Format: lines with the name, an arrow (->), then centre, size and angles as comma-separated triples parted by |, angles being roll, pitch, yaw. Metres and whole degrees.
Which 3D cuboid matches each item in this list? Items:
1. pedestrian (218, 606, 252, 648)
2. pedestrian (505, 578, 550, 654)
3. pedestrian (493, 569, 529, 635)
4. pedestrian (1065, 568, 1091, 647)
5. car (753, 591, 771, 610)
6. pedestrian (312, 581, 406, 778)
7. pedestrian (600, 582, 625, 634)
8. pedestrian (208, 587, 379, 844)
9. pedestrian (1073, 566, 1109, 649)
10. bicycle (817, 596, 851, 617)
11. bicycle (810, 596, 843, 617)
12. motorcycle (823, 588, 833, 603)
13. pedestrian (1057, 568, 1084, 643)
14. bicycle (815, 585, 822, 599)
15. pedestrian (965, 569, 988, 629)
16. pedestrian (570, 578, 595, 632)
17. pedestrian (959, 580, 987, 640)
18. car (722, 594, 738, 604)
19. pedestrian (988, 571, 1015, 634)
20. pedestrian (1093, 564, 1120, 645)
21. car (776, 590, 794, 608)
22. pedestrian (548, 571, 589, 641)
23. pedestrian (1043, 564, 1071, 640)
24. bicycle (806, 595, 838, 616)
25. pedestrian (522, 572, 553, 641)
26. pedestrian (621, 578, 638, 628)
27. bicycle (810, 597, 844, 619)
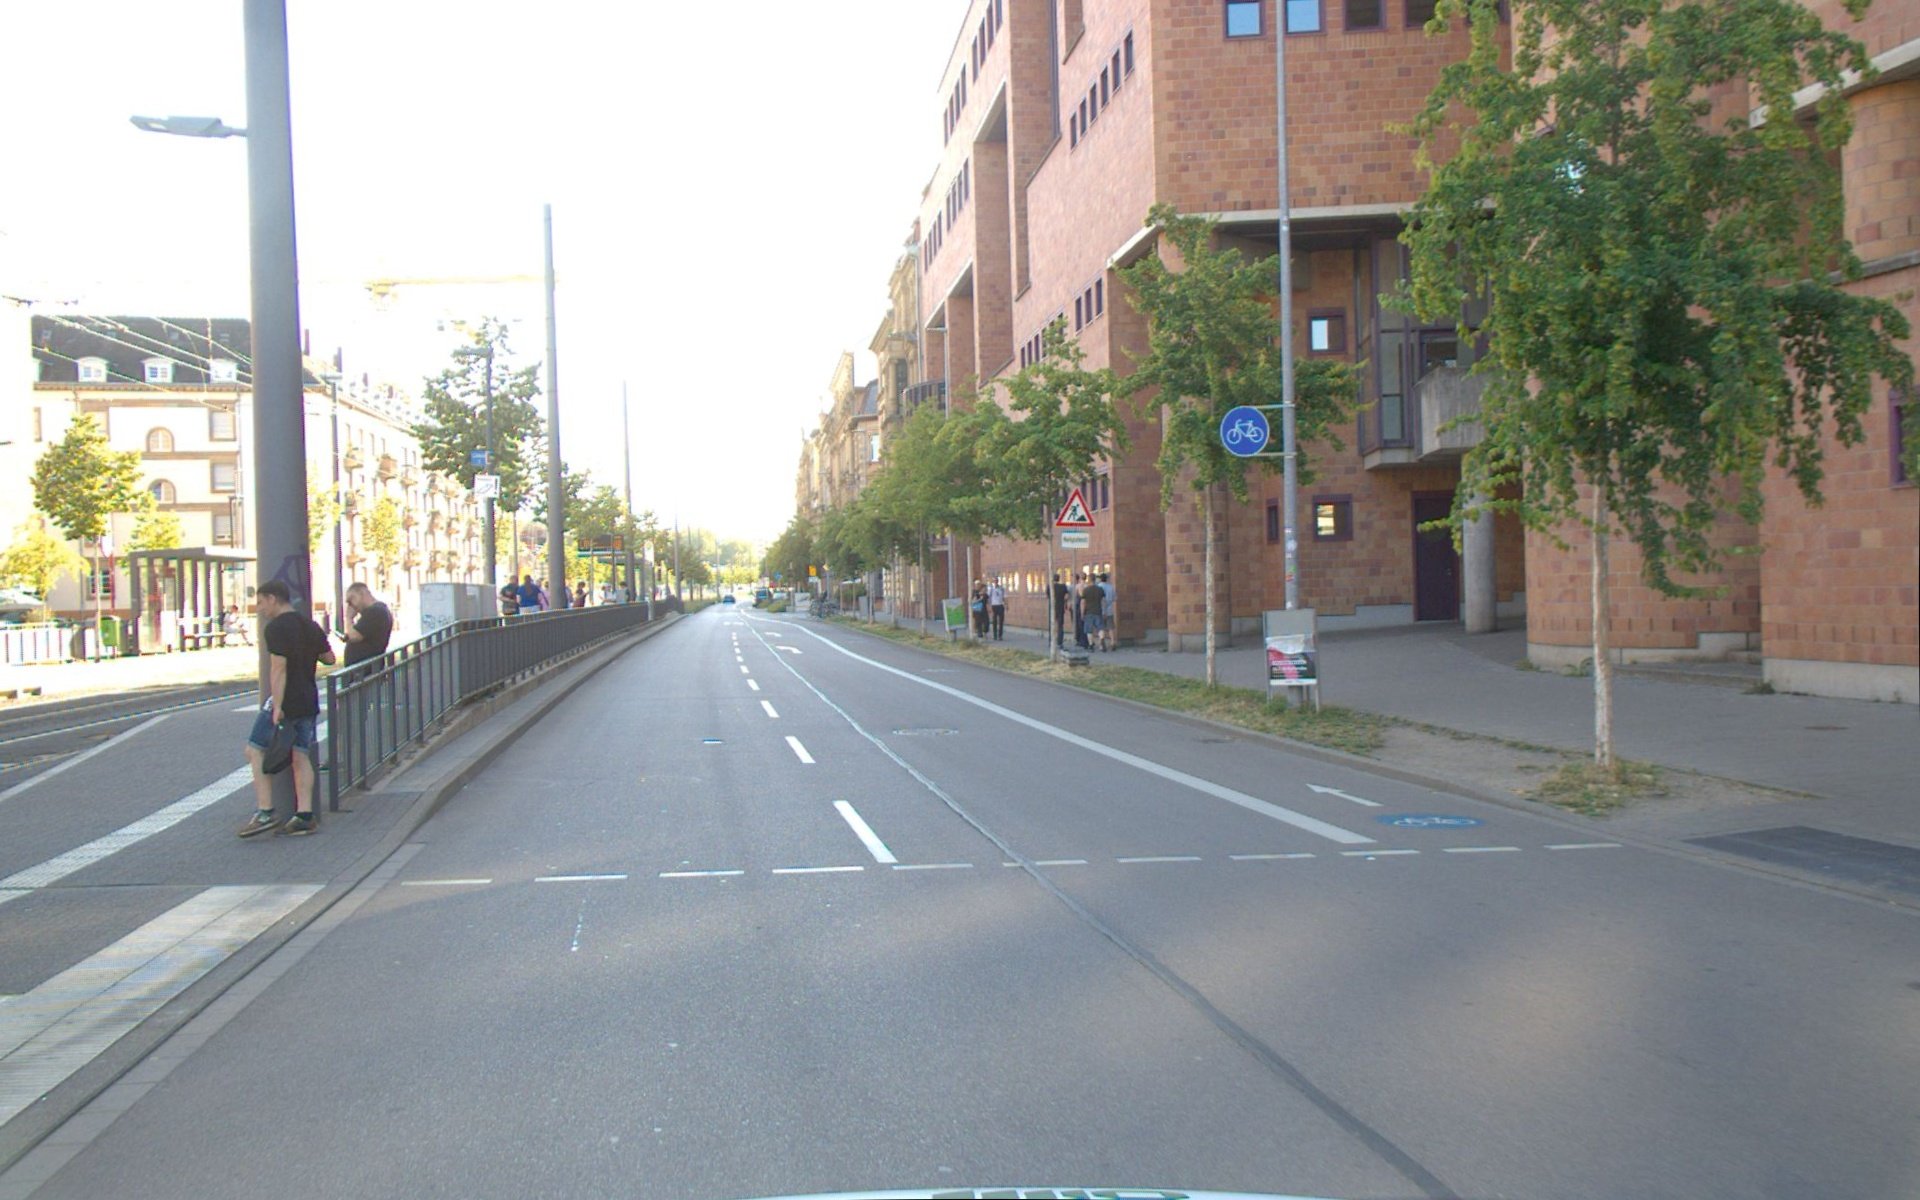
pedestrian -> -21.748, 0.802, 49.638 | 0.660, 1.210, 0.904 | -2, 0, -8
pedestrian -> -9.927, 0.355, 37.988 | 0.871, 1.701, 0.670 | -2, 0, -10
pedestrian -> -10.513, 0.047, 38.770 | 0.669, 1.509, 0.827 | -1, 0, -8
pedestrian -> 2.735, 0.172, 38.437 | 0.525, 1.787, 0.696 | -2, 0, 2
car -> -21.521, 0.076, 179.903 | 1.849, 1.971, 4.467 | 0, 1, -6
pedestrian -> -4.911, 0.634, 13.538 | 0.479, 1.565, 0.552 | -2, 0, 6
pedestrian -> -10.925, 0.246, 52.075 | 0.660, 1.589, 0.904 | -2, 0, -8
pedestrian -> -4.288, 0.713, 10.697 | 0.698, 1.565, 0.852 | -2, 0, 0
pedestrian -> 2.908, 0.162, 36.614 | 0.717, 1.787, 0.696 | -2, 0, 6
bicycle -> -7.311, 0.382, 95.763 | 1.795, 1.083, 0.661 | -5, 2, -13
bicycle -> -7.816, 0.365, 97.086 | 1.795, 1.083, 0.661 | -5, 2, -13
motorcycle -> -12.704, -0.467, 159.198 | 0.780, 1.331, 2.847 | -4, 2, -8
pedestrian -> 2.693, 0.134, 40.180 | 0.526, 1.787, 0.421 | -2, 0, -8
bicycle -> -16.005, -0.914, 187.207 | 0.648, 1.427, 2.348 | -2, 1, -8
pedestrian -> 0.493, -0.025, 49.723 | 0.529, 1.787, 0.419 | -2, 0, -22
pedestrian -> -12.589, 0.150, 55.222 | 0.706, 1.762, 0.650 | -2, 0, -9
pedestrian -> 0.358, 0.282, 46.075 | 0.509, 1.633, 0.700 | -2, 0, -21
car -> -33.732, -0.152, 242.998 | 1.761, 1.489, 3.999 | -2, 0, -1
pedestrian -> 1.178, 0.069, 46.628 | 0.561, 1.743, 0.639 | -2, 0, -13
pedestrian -> 3.295, 0.097, 37.316 | 0.525, 1.787, 0.696 | -2, 0, 2
car -> -17.309, -0.120, 163.853 | 1.605, 1.511, 4.207 | -4, 2, -5
pedestrian -> -9.808, 0.141, 41.502 | 0.871, 1.701, 1.093 | -2, 0, -10
pedestrian -> 2.301, 0.051, 39.379 | 0.526, 1.787, 0.464 | -2, 0, -9
bicycle -> -8.230, 0.342, 98.512 | 1.795, 1.083, 0.661 | -5, 2, -13
pedestrian -> -10.607, 0.165, 41.567 | 0.644, 1.701, 0.670 | -2, 0, -10
pedestrian -> -11.556, 0.112, 57.762 | 0.495, 1.708, 0.650 | -2, 0, -8
bicycle -> -7.569, 0.430, 94.341 | 1.795, 1.083, 0.661 | -5, 2, -13
